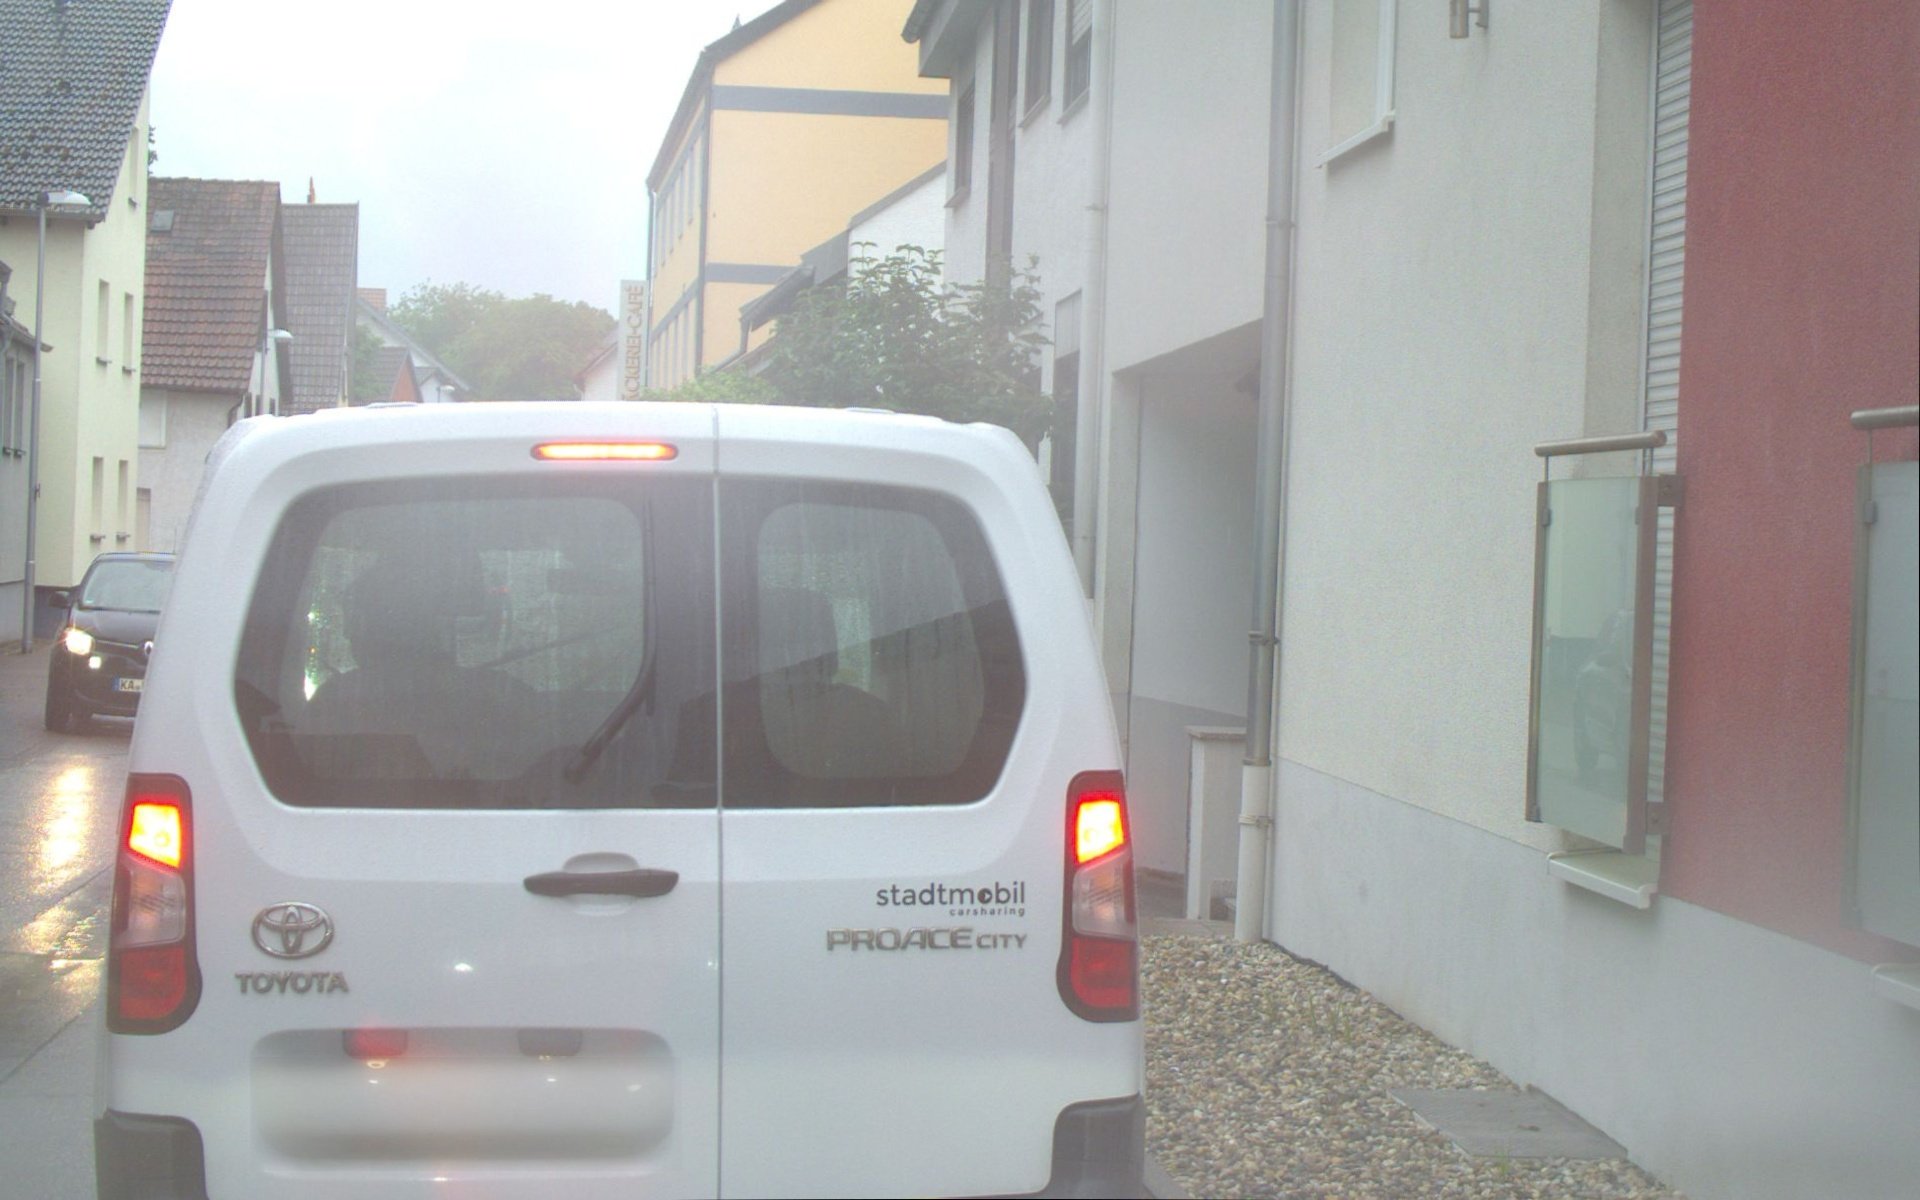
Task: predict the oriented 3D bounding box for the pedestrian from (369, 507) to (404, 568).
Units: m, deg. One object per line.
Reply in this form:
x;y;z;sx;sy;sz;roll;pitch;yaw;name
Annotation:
-18.084;-1.970;108.362;1.050;1.886;0.877;1;0;-9;pedestrian

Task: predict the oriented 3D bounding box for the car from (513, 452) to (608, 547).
-8.840;-2.210;76.342;1.993;2.007;4.001;1;1;-6;car

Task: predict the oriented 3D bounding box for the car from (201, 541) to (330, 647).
-11.001;-0.118;54.666;1.832;1.550;4.241;2;0;-10;car

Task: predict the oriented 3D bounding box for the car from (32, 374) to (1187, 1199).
-0.838;0.533;7.331;1.774;1.774;4.001;1;1;-9;car

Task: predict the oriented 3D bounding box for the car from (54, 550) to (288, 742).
-6.820;0.354;30.000;1.604;1.508;3.689;2;1;-8;car

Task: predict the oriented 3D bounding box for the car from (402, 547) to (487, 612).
-11.538;-0.461;76.856;1.779;1.390;4.001;1;1;-10;car

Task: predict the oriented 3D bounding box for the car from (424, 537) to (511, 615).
-9.740;-0.487;67.797;1.560;1.472;4.001;1;1;-10;car
